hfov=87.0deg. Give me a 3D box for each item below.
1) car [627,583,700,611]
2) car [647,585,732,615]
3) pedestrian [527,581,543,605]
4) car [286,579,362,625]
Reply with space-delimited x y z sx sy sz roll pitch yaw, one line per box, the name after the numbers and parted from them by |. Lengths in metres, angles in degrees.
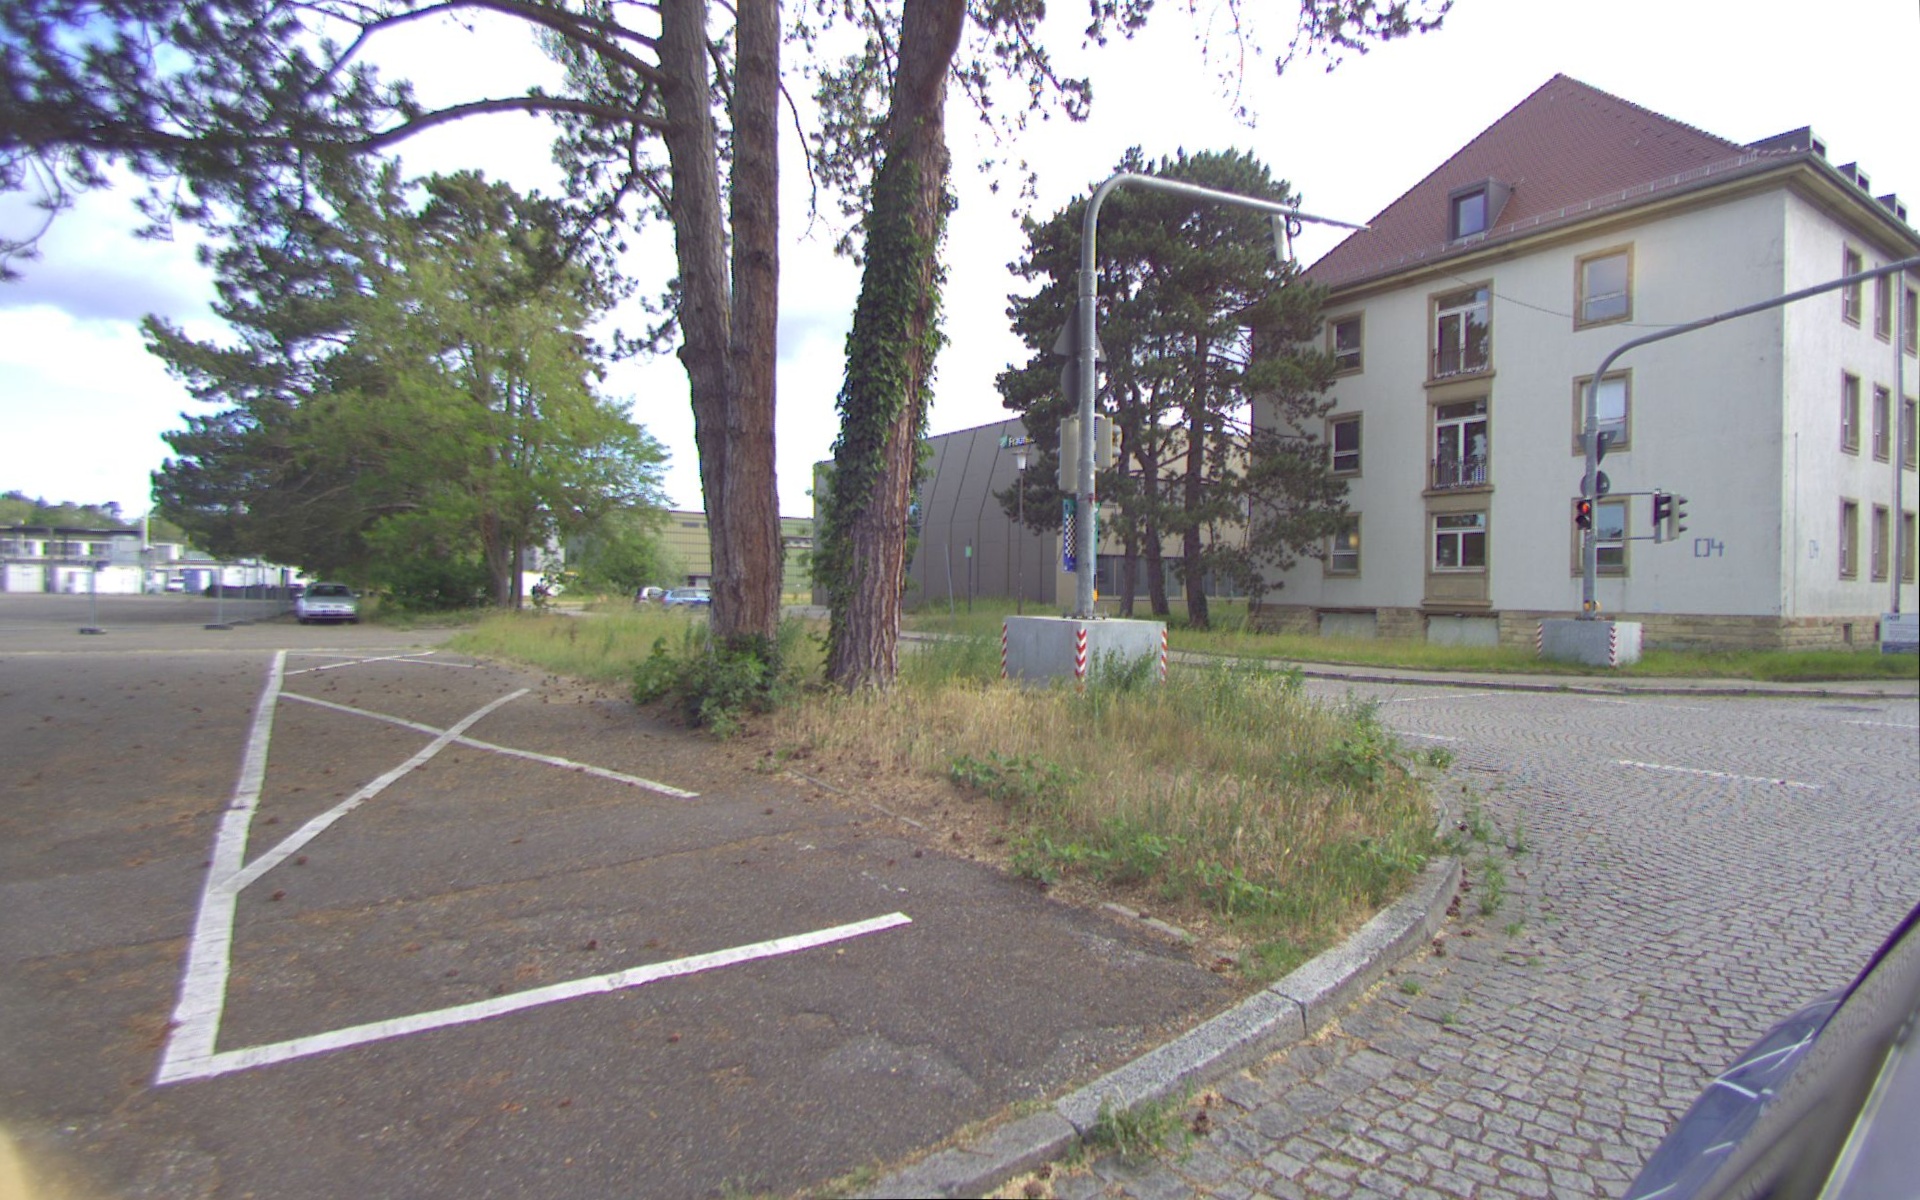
-18.946 -0.245 64.769 4.119 1.606 1.838 -3 3 -37 | car
-15.521 -0.019 58.103 4.337 1.481 1.838 -3 3 -37 | car
-31.853 -0.531 75.833 0.860 1.745 1.006 1 0 -40 | pedestrian
-22.404 0.032 35.608 1.830 1.493 4.148 1 1 -38 | car
